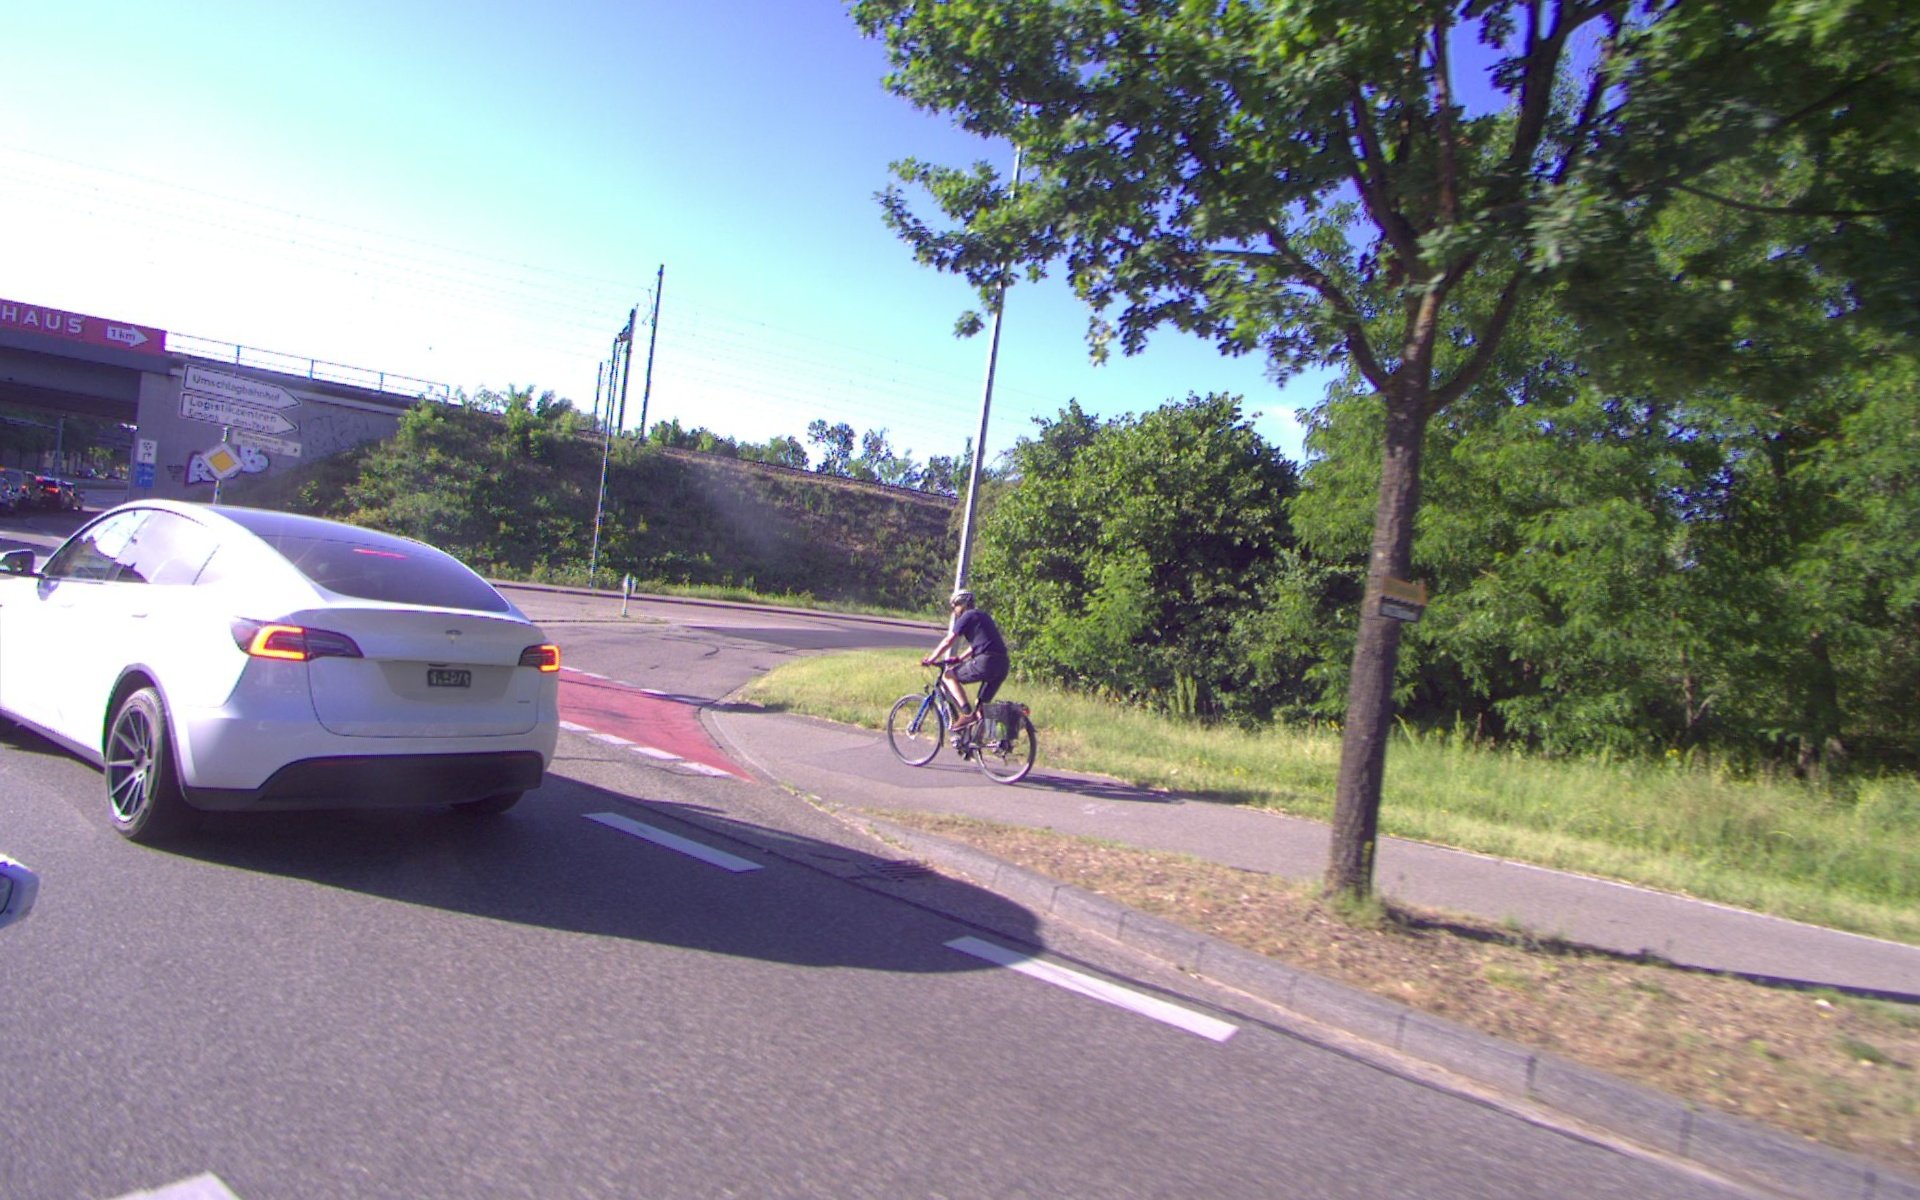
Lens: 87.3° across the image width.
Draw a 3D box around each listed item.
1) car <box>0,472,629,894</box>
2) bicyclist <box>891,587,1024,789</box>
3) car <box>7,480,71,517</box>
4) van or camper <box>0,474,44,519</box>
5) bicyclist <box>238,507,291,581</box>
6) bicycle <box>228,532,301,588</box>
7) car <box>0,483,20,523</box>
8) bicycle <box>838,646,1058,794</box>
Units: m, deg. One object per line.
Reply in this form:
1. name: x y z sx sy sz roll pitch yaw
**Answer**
1. car: -4.315 0.291 6.131 4.339 1.659 1.918 7 -3 33
2. bicyclist: -0.025 0.828 9.831 0.933 1.800 0.675 7 3 34
3. car: -47.140 -5.169 51.539 1.697 1.541 3.709 7 0 -33
4. van or camper: -43.713 -4.791 46.204 1.817 1.812 4.498 8 0 -37
5. bicyclist: -16.282 -1.313 23.560 0.899 1.640 0.744 7 3 40
6. bicycle: -16.421 -0.959 23.722 2.416 1.127 0.741 6 2 40
7. car: -38.103 -3.895 39.232 1.755 1.494 4.241 6 0 -40
8. bicycle: -0.156 1.125 9.962 2.084 1.110 0.695 6 2 35
